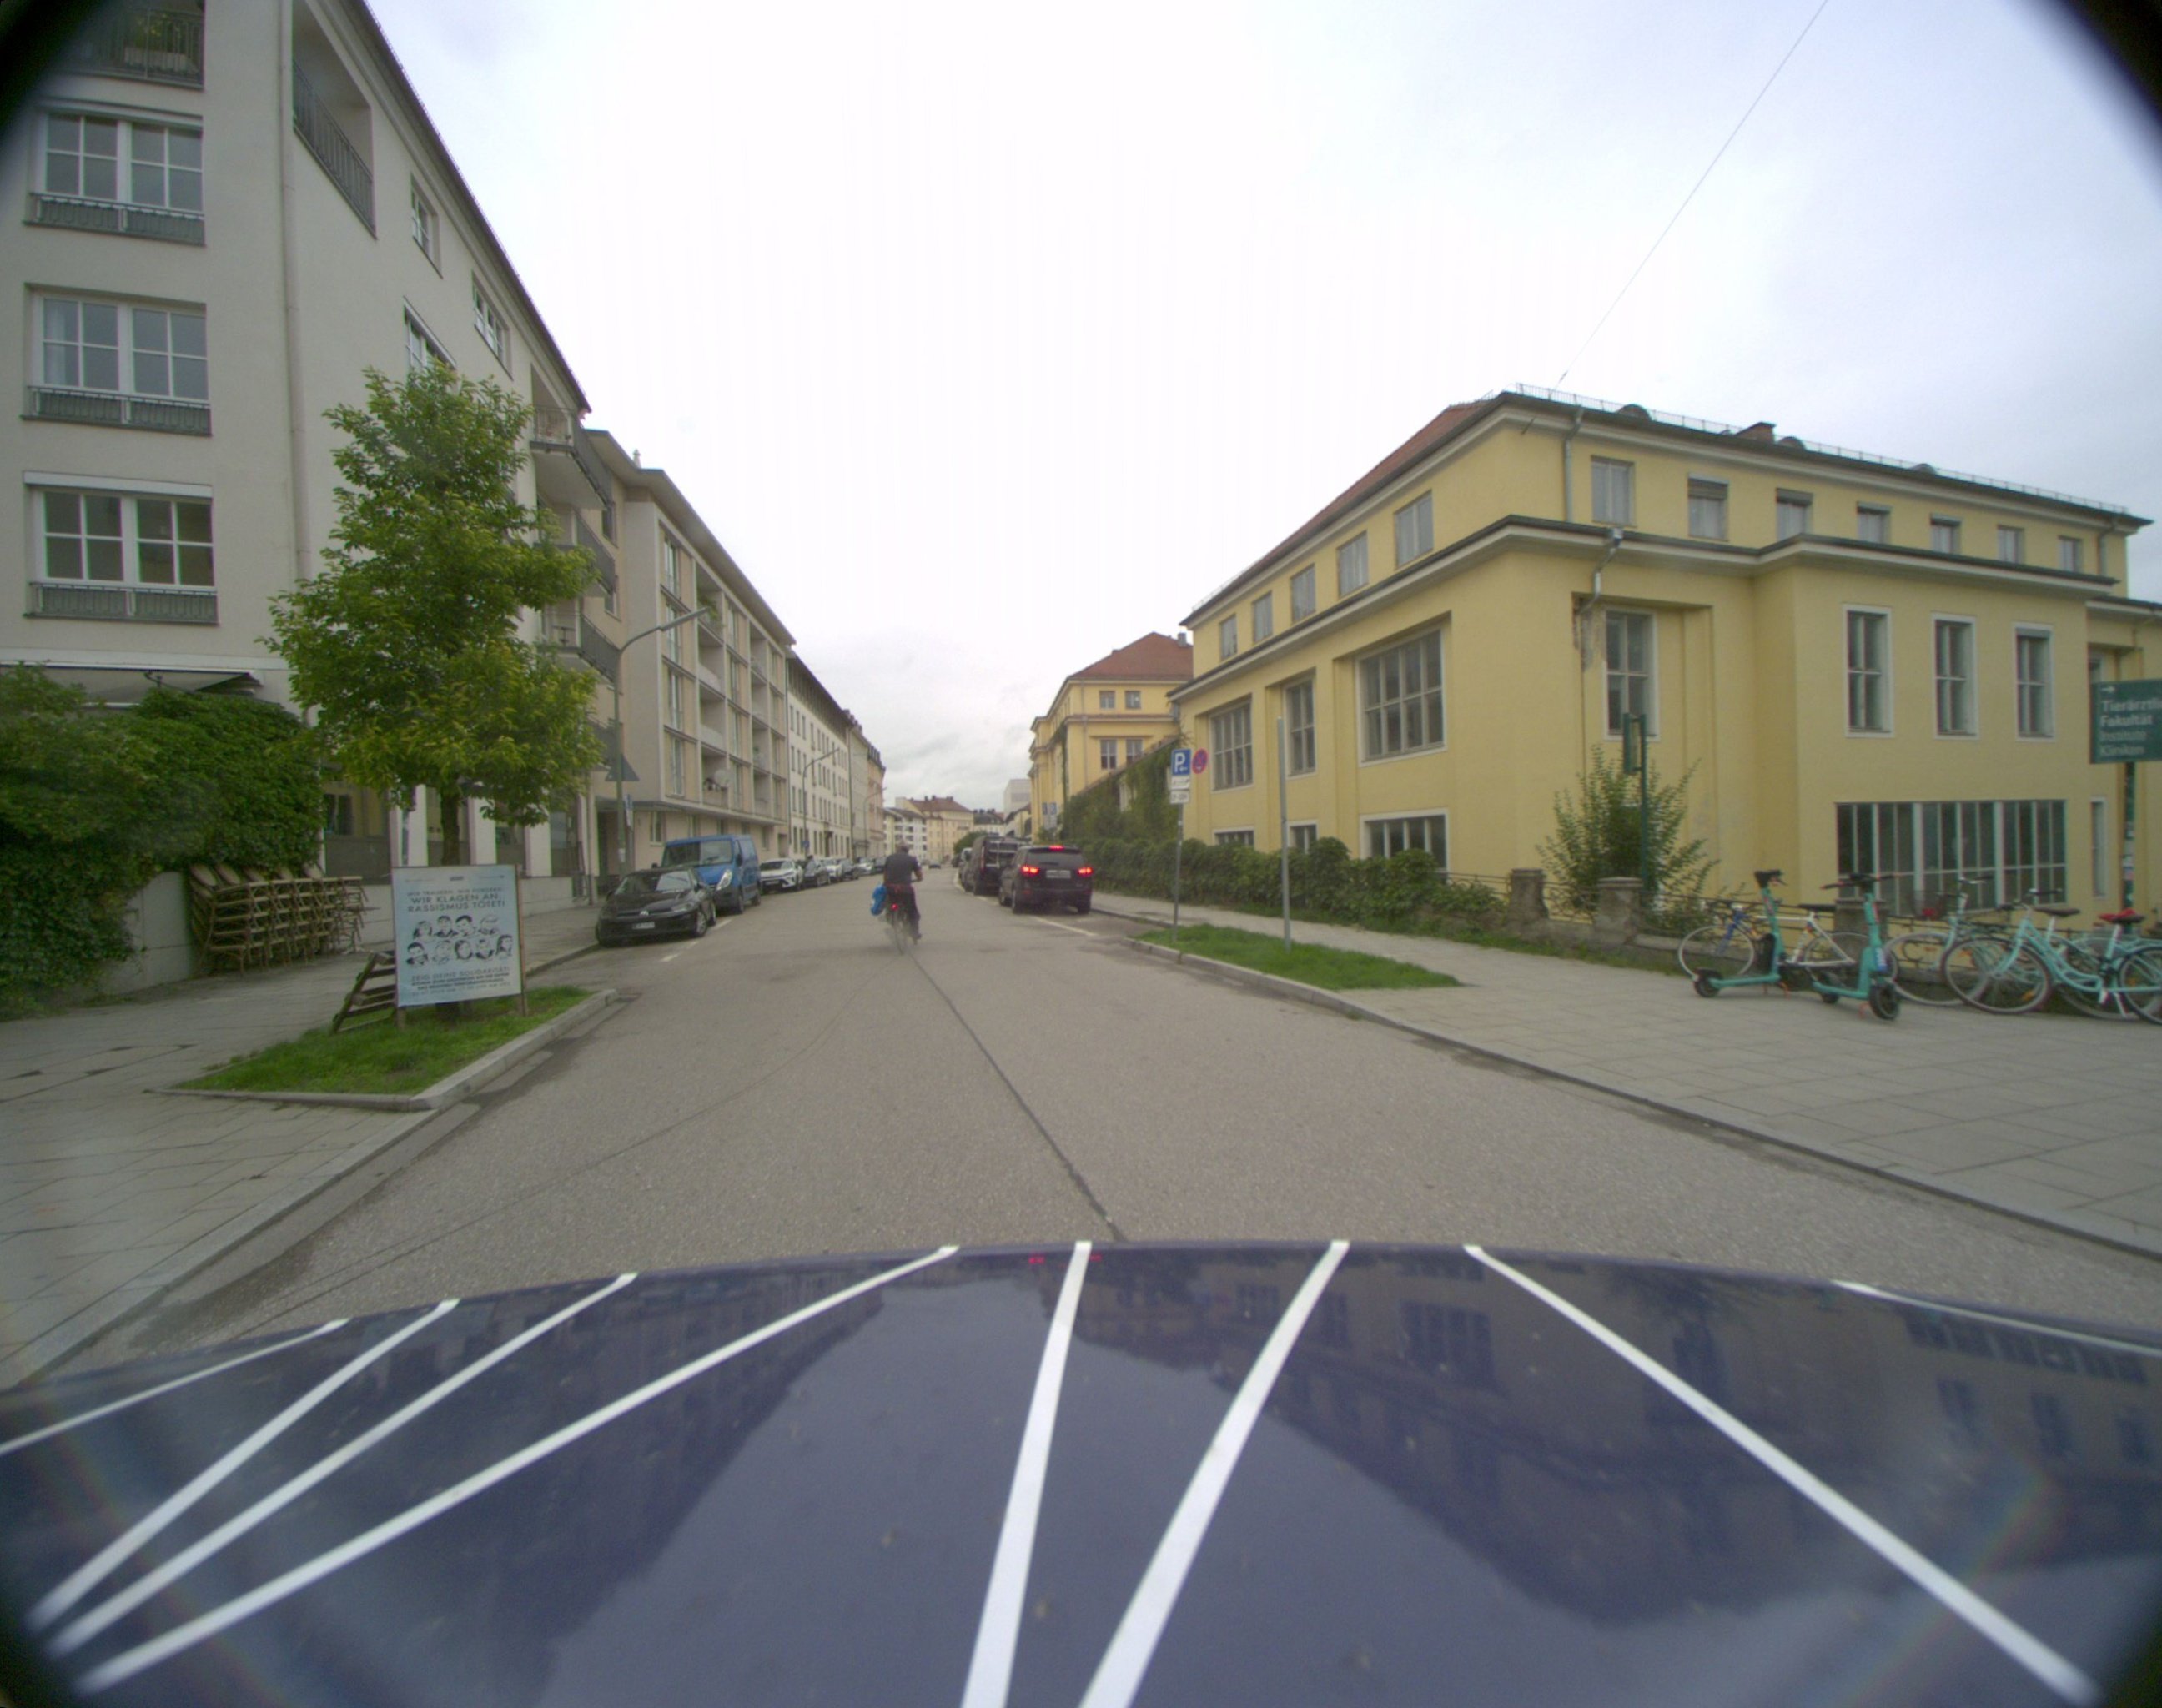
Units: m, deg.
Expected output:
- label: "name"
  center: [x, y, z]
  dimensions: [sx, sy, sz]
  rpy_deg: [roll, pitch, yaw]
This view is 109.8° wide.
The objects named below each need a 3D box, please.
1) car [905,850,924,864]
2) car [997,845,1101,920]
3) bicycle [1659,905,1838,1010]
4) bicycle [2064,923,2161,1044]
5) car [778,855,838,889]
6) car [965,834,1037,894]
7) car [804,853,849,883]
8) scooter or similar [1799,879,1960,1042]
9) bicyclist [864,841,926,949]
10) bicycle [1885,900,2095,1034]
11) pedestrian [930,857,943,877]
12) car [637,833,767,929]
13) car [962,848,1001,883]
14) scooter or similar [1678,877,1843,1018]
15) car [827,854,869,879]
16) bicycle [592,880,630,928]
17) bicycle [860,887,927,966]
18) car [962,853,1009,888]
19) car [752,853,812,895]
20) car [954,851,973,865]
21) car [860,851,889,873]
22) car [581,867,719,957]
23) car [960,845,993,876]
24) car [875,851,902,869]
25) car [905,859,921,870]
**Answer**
- label: "car"
  center: [-20.272, 0.326, 92.683]
  dimensions: [1.769, 1.531, 3.997]
  rpy_deg: [-4, 0, -8]
- label: "car"
  center: [-0.986, 0.669, 20.116]
  dimensions: [2.000, 1.709, 4.610]
  rpy_deg: [-1, 0, -12]
- label: "bicycle"
  center: [6.977, 1.043, 8.001]
  dimensions: [0.435, 0.888, 1.326]
  rpy_deg: [-2, 3, -36]
- label: "bicycle"
  center: [9.400, 1.103, 6.448]
  dimensions: [1.273, 0.972, 0.415]
  rpy_deg: [-1, 0, 20]
- label: "car"
  center: [-13.602, 0.836, 38.161]
  dimensions: [1.777, 1.421, 4.689]
  rpy_deg: [-6, 1, -8]
- label: "car"
  center: [-2.995, 0.372, 27.680]
  dimensions: [1.933, 1.967, 4.617]
  rpy_deg: [1, -1, -14]
- label: "car"
  center: [-14.439, 0.777, 43.274]
  dimensions: [1.707, 1.460, 4.116]
  rpy_deg: [-6, 1, -10]
- label: "scooter or similar"
  center: [6.790, 0.858, 6.520]
  dimensions: [0.439, 1.206, 1.054]
  rpy_deg: [0, 3, 15]
- label: "bicyclist"
  center: [-2.903, 0.616, 11.962]
  dimensions: [0.878, 1.600, 1.048]
  rpy_deg: [-1, 0, -12]
- label: "bicycle"
  center: [8.181, 0.989, 6.882]
  dimensions: [1.188, 1.105, 0.301]
  rpy_deg: [0, 2, 24]
- label: "pedestrian"
  center: [-22.106, 1.962, 116.422]
  dimensions: [1.931, 2.933, 2.023]
  rpy_deg: [-1, 0, -9]
- label: "car"
  center: [-10.605, 0.596, 21.720]
  dimensions: [2.116, 2.202, 5.020]
  rpy_deg: [-6, 3, -15]
- label: "car"
  center: [-5.042, 0.536, 38.113]
  dimensions: [1.708, 1.597, 4.487]
  rpy_deg: [2, 0, -10]
- label: "scooter or similar"
  center: [6.439, 0.868, 7.220]
  dimensions: [1.264, 1.237, 0.394]
  rpy_deg: [-1, 3, -5]
- label: "car"
  center: [-14.749, 0.779, 48.320]
  dimensions: [1.833, 1.373, 4.488]
  rpy_deg: [-4, 0, -8]
- label: "bicycle"
  center: [-11.491, 1.201, 18.627]
  dimensions: [0.567, 1.063, 1.783]
  rpy_deg: [-2, 0, -25]
- label: "bicycle"
  center: [-2.904, 1.080, 11.995]
  dimensions: [0.879, 1.013, 2.188]
  rpy_deg: [-1, 0, -11]
- label: "car"
  center: [-4.207, 0.684, 33.032]
  dimensions: [1.713, 1.357, 3.998]
  rpy_deg: [3, -1, -11]
- label: "car"
  center: [-12.933, 0.840, 33.065]
  dimensions: [1.782, 1.514, 4.299]
  rpy_deg: [-6, 1, -14]
- label: "car"
  center: [-22.704, 0.762, 146.688]
  dimensions: [2.850, 2.536, 6.884]
  rpy_deg: [-1, 0, -15]
- label: "car"
  center: [-16.093, 0.609, 59.292]
  dimensions: [1.619, 1.508, 3.377]
  rpy_deg: [-5, 1, -8]
- label: "car"
  center: [-8.724, 1.072, 15.729]
  dimensions: [1.721, 1.387, 3.993]
  rpy_deg: [-5, 2, -20]
- label: "car"
  center: [-6.738, 0.428, 48.671]
  dimensions: [1.899, 1.787, 4.877]
  rpy_deg: [3, -1, -9]
- label: "car"
  center: [-17.404, 0.519, 68.880]
  dimensions: [1.879, 1.439, 4.696]
  rpy_deg: [-3, 0, -10]
- label: "car"
  center: [-25.393, 1.604, 114.831]
  dimensions: [2.002, 1.563, 4.487]
  rpy_deg: [-4, 0, -8]
